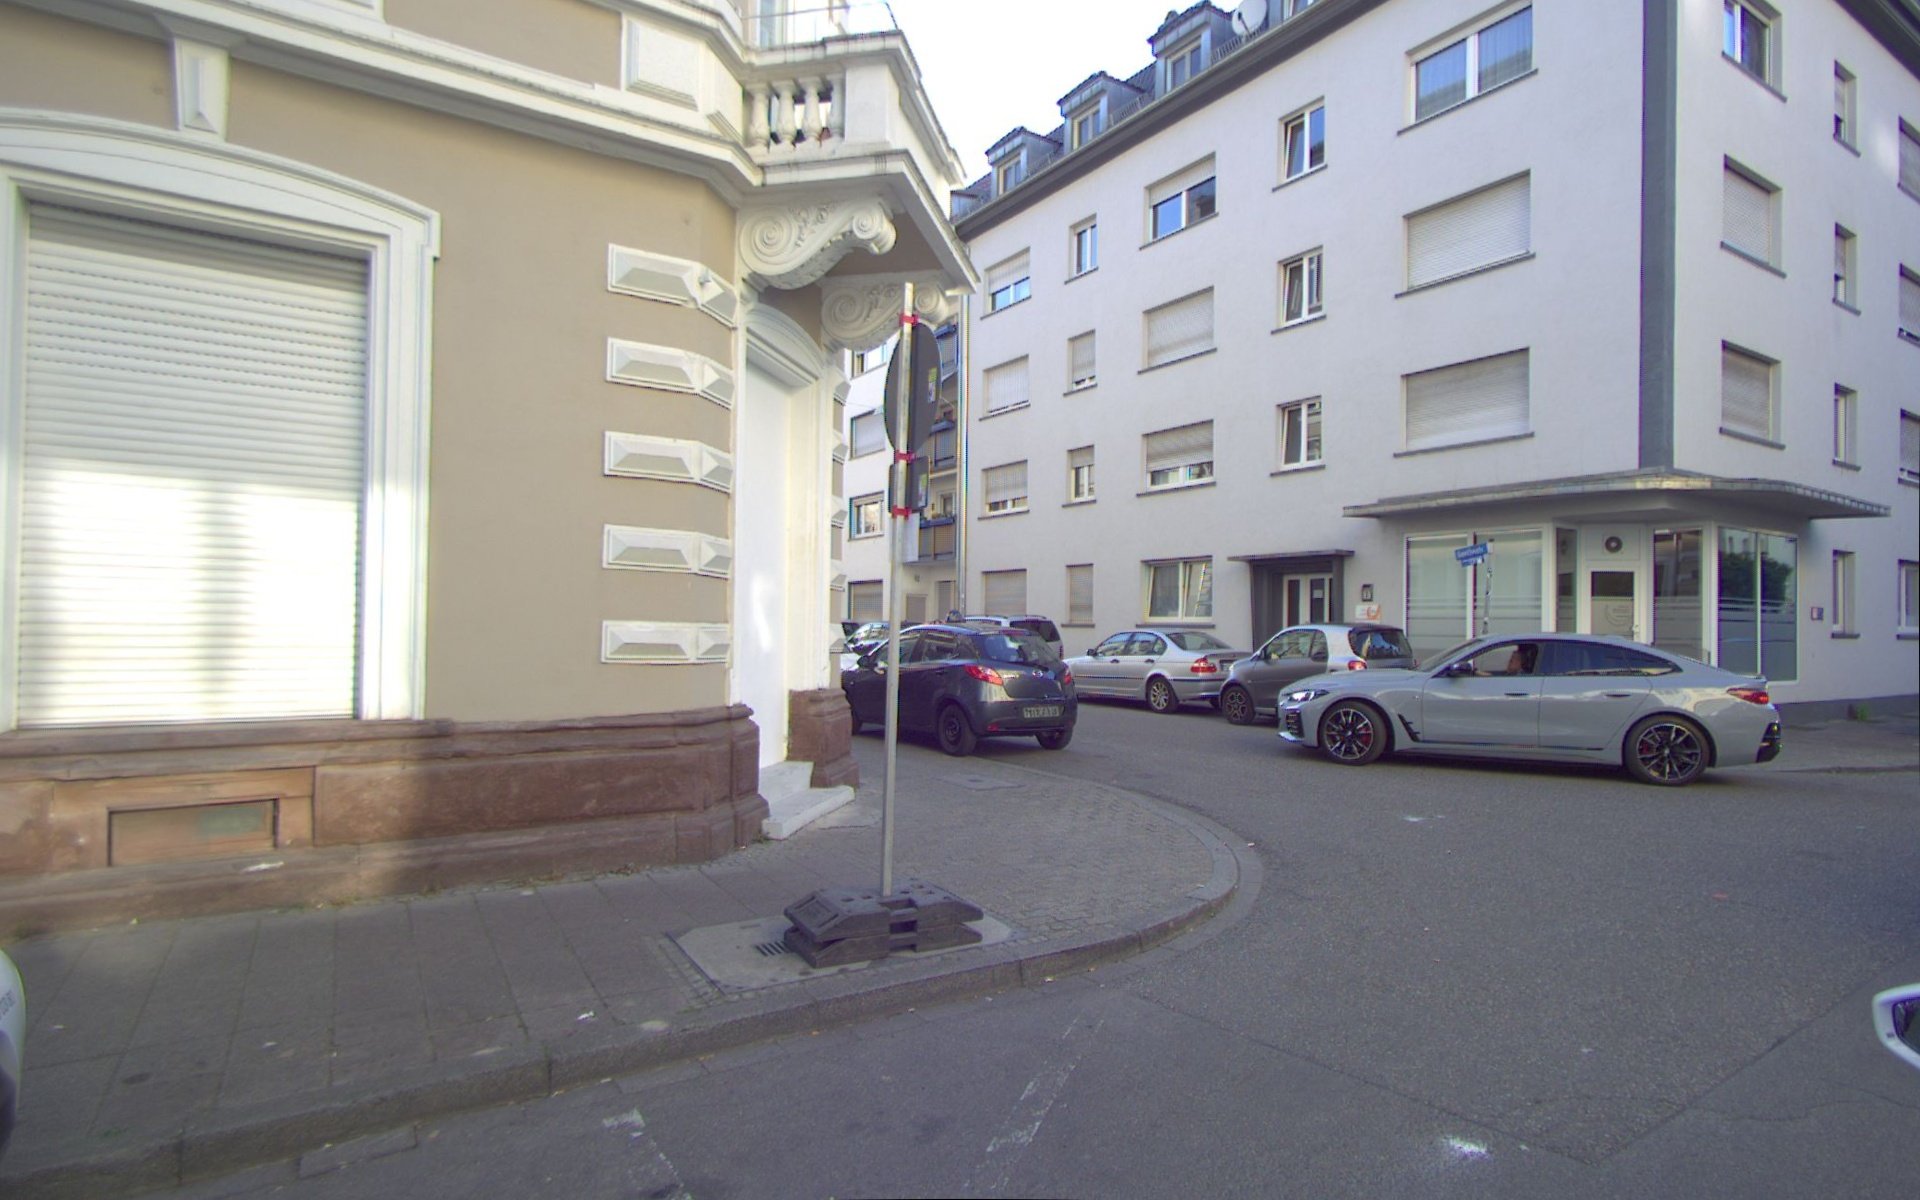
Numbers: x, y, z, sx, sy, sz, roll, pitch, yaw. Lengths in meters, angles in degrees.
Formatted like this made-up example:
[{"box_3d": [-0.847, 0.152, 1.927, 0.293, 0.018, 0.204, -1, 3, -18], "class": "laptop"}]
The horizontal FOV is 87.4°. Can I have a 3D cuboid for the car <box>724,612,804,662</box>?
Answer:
[{"box_3d": [-6.822, 1.253, 34.679, 1.585, 1.560, 3.473, 2, 0, -31], "class": "car"}]

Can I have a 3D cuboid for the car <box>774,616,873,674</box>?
[{"box_3d": [-4.147, 1.301, 30.153, 1.586, 1.560, 3.470, 2, 0, -33], "class": "car"}]

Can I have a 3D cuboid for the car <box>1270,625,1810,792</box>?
[{"box_3d": [5.880, 1.038, 10.905, 4.716, 1.470, 1.934, 0, -1, 20], "class": "car"}]

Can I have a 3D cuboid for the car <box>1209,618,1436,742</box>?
[{"box_3d": [5.272, 1.099, 14.840, 1.576, 1.560, 2.771, 2, 0, -32], "class": "car"}]

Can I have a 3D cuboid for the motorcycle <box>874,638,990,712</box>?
[{"box_3d": [-0.473, 1.145, 15.775, 0.961, 1.042, 1.979, 1, -1, -32], "class": "motorcycle"}]

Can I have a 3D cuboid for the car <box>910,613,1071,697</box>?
[{"box_3d": [0.576, 1.149, 22.444, 1.586, 1.626, 3.993, 1, 0, -33], "class": "car"}]

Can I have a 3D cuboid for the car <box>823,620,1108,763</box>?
[{"box_3d": [-0.060, 1.006, 12.455, 1.713, 1.470, 3.639, 1, -2, -36], "class": "car"}]

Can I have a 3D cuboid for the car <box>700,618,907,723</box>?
[{"box_3d": [-2.730, 1.062, 16.658, 1.884, 1.481, 4.286, 1, -1, -32], "class": "car"}]

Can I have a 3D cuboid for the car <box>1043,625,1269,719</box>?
[{"box_3d": [3.430, 1.211, 18.307, 1.586, 1.422, 4.179, 2, -1, -33], "class": "car"}]

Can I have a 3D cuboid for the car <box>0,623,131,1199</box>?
[{"box_3d": [-3.617, 0.783, 0.845, 4.218, 1.527, 1.911, 1, -3, -31], "class": "car"}]

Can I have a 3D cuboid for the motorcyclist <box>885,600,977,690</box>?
[{"box_3d": [-0.470, 0.687, 15.785, 0.961, 1.347, 1.217, 1, -1, -32], "class": "motorcyclist"}]

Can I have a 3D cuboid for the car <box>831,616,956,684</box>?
[{"box_3d": [-1.797, 1.253, 26.175, 1.587, 1.560, 3.685, 2, 0, -34], "class": "car"}]
